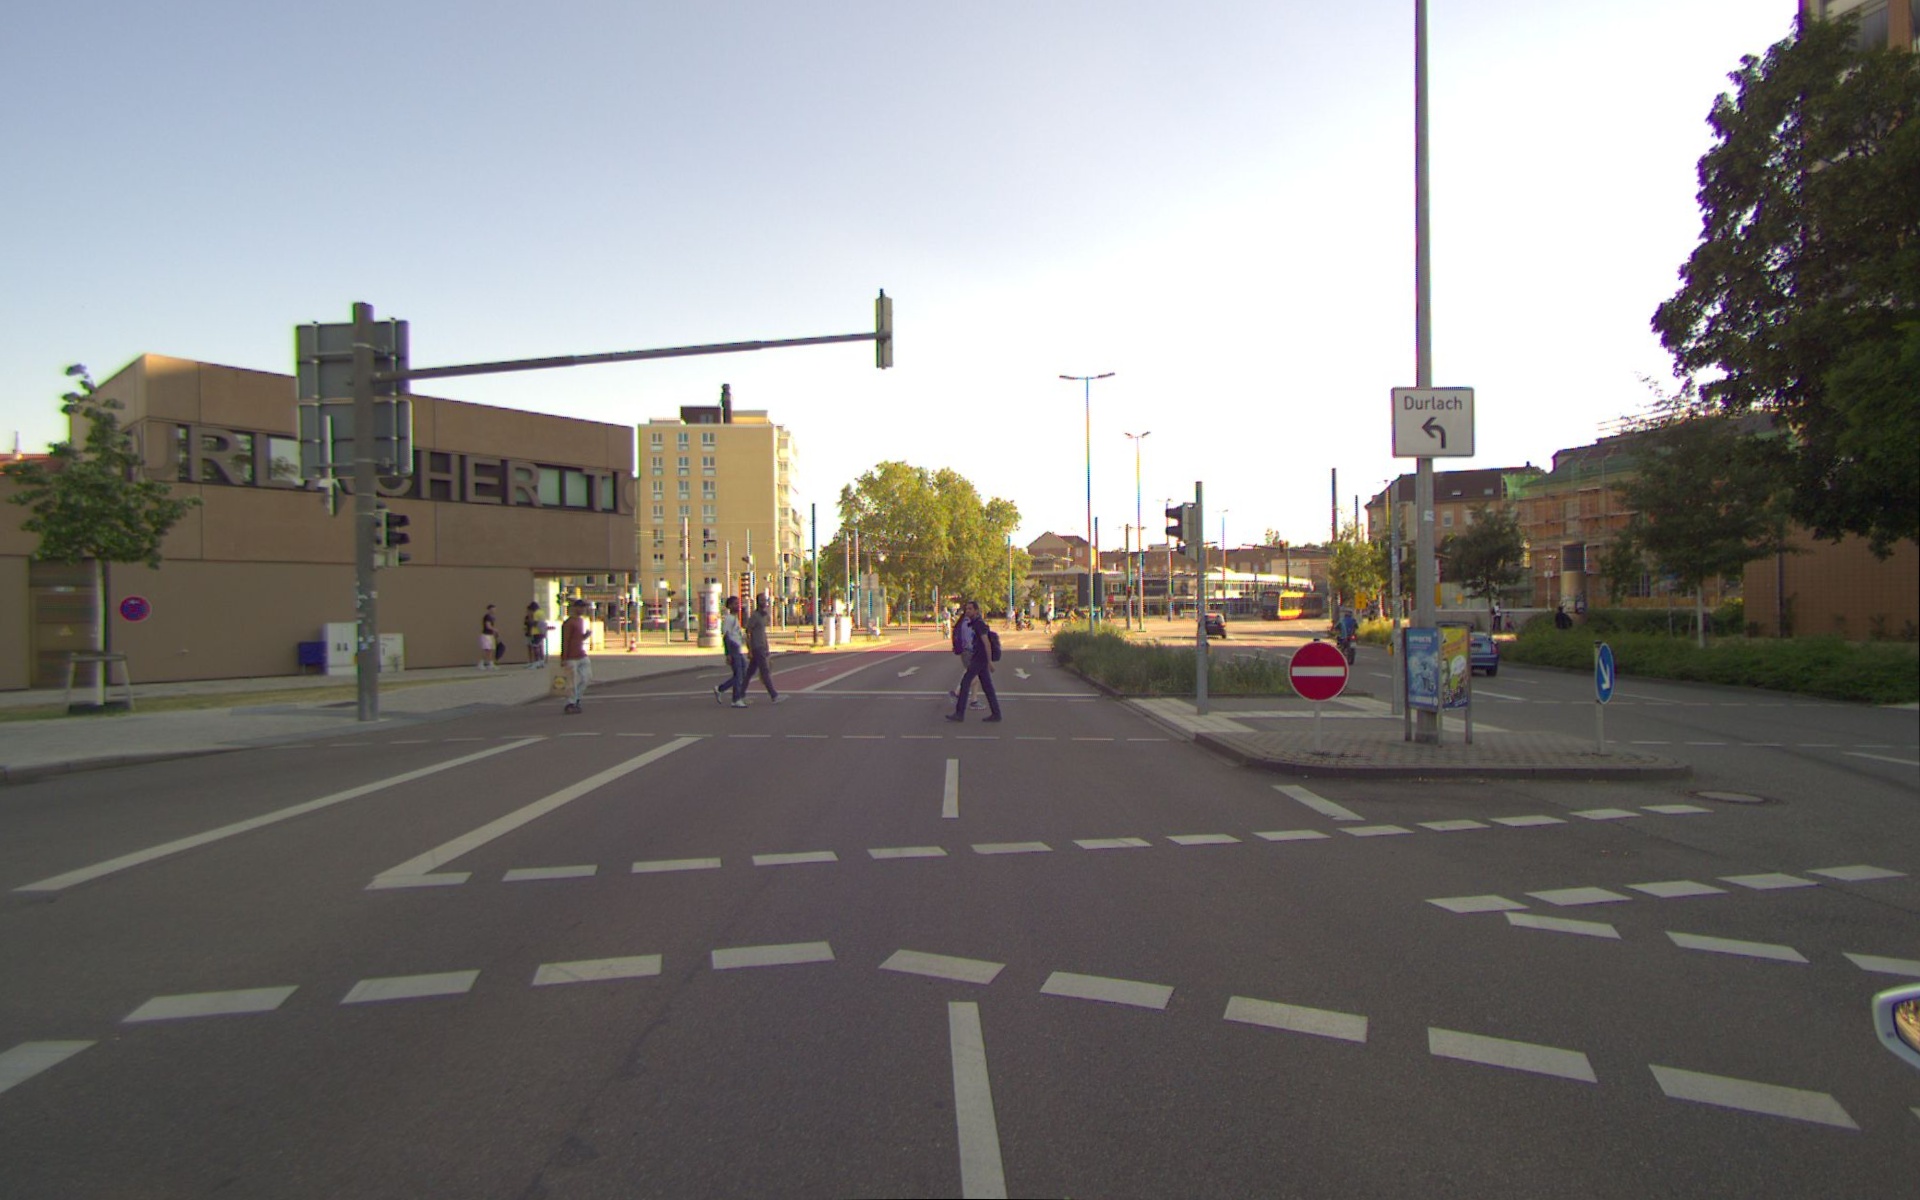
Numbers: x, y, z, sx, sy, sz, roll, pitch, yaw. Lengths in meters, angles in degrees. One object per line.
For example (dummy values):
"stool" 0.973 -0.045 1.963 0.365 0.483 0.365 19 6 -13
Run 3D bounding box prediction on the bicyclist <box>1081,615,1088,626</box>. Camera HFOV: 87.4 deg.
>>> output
"bicyclist" 14.163 2.322 114.572 0.701 1.158 0.837 0 1 1

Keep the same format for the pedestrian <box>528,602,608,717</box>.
"pedestrian" -6.185 0.921 15.877 0.909 1.764 0.788 -1 0 3

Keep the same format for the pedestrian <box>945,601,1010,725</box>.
"pedestrian" 0.260 0.874 14.227 0.882 1.707 0.748 -1 0 3

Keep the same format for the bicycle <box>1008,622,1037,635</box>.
"bicycle" 5.029 2.302 81.263 2.260 0.918 0.859 0 1 -6

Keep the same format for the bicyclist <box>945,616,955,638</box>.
"bicyclist" -0.811 2.189 81.397 0.734 1.713 0.859 0 1 -7

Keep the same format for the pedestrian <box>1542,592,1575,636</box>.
"pedestrian" 23.793 0.563 39.966 0.792 1.681 0.790 -2 0 4

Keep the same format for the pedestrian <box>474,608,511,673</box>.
"pedestrian" -13.005 1.109 27.968 0.725 1.754 0.662 1 2 38

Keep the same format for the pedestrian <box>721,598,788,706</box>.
"pedestrian" -3.453 0.867 16.937 0.909 1.764 0.757 -1 0 3

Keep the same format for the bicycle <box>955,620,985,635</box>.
"bicycle" 0.869 2.254 82.989 2.451 1.148 0.860 0 1 2

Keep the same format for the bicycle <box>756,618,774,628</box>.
"bicycle" -22.408 2.630 115.362 2.010 1.105 0.776 -1 0 -6

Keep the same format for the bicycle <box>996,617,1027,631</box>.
"bicycle" 4.245 1.990 82.774 2.453 1.148 0.859 0 1 -4

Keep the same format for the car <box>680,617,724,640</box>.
"car" -23.860 2.638 93.136 3.676 2.041 1.998 0 1 -6

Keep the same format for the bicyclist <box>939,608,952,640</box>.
"bicyclist" -0.838 1.426 58.670 0.727 1.856 1.014 0 -1 1

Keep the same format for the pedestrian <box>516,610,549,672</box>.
"pedestrian" -12.144 1.150 28.538 0.627 1.712 0.549 1 2 26

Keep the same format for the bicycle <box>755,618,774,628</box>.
"bicycle" -22.282 2.648 114.522 2.010 1.105 0.776 -1 0 -6

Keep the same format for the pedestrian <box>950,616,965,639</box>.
"pedestrian" -0.159 2.018 73.489 1.074 1.628 0.699 0 1 3

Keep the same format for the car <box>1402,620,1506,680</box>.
"car" 13.576 1.323 27.828 1.770 1.463 3.980 1 0 14

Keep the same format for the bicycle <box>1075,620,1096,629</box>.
"bicycle" 14.307 2.781 114.581 2.258 0.972 0.860 -2 2 1

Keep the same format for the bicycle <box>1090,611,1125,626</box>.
"bicycle" 17.252 2.144 117.517 3.924 1.713 1.138 0 1 -5

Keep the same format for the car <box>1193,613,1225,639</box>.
"car" 14.870 1.514 60.046 1.770 1.463 3.980 1 0 14

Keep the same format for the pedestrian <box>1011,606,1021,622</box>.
"pedestrian" 6.370 1.581 114.066 0.972 1.841 0.920 0 2 12

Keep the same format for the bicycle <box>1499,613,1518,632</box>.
"bicycle" 31.800 1.311 58.237 0.619 1.052 1.954 -3 -2 38

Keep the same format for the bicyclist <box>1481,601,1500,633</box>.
"bicyclist" 30.791 0.980 58.331 0.774 1.810 0.894 -3 -2 22

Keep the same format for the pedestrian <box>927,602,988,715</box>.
"pedestrian" -0.032 0.930 16.179 0.909 1.764 0.757 -1 0 3

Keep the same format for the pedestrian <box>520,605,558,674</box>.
"pedestrian" -11.657 1.076 27.802 0.704 1.860 0.639 0 2 14

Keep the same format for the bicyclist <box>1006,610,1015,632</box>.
"bicyclist" 4.152 1.725 82.769 0.639 1.713 0.859 0 1 -4

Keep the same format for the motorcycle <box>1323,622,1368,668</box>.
"motorcycle" 12.327 1.403 32.201 1.077 1.395 2.654 0 -1 15

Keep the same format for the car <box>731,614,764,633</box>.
"car" -22.548 2.477 106.528 1.838 1.882 3.953 -1 2 -40

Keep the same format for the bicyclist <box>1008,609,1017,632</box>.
"bicyclist" 4.207 1.640 81.157 0.573 1.801 0.866 -1 0 -6

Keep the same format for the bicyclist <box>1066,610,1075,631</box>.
"bicyclist" 8.953 1.662 81.332 0.638 1.713 0.860 0 1 -1

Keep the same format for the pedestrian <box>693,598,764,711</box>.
"pedestrian" -3.686 0.858 16.075 0.909 1.764 0.757 -1 0 3

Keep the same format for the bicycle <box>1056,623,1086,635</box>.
"bicycle" 8.981 2.326 81.345 2.258 0.918 0.860 0 1 -2

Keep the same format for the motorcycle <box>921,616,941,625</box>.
"motorcycle" -3.312 2.362 116.037 2.246 1.068 0.687 0 1 1

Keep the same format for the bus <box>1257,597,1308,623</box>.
"bus" 37.748 1.137 117.338 2.326 2.921 9.536 -1 -1 39

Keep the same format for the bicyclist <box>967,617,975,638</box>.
"bicyclist" 0.916 2.250 82.985 0.638 1.713 0.860 0 1 2

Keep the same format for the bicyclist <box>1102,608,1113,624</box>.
"bicyclist" 17.227 1.867 117.529 1.053 1.926 1.122 0 1 -4

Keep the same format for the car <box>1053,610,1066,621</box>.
"car" 16.187 2.488 163.009 1.959 1.555 4.002 0 1 8

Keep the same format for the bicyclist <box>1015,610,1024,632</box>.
"bicyclist" 4.823 1.693 81.235 0.639 1.713 0.859 0 1 -5

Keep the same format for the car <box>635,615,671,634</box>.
"car" -32.266 2.544 105.538 3.956 1.742 2.073 1 2 45

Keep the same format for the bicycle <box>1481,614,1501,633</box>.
"bicycle" 30.828 1.366 58.368 0.776 1.052 1.962 -3 -2 21

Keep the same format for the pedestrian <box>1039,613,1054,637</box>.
"pedestrian" 6.216 1.792 71.860 0.818 1.694 0.694 -1 0 -26

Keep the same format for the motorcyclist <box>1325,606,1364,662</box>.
"motorcyclist" 12.345 1.076 32.251 1.077 1.744 0.937 0 -1 15

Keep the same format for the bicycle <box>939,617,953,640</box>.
"bicycle" -0.833 1.654 58.785 0.727 1.272 2.557 0 -1 1
